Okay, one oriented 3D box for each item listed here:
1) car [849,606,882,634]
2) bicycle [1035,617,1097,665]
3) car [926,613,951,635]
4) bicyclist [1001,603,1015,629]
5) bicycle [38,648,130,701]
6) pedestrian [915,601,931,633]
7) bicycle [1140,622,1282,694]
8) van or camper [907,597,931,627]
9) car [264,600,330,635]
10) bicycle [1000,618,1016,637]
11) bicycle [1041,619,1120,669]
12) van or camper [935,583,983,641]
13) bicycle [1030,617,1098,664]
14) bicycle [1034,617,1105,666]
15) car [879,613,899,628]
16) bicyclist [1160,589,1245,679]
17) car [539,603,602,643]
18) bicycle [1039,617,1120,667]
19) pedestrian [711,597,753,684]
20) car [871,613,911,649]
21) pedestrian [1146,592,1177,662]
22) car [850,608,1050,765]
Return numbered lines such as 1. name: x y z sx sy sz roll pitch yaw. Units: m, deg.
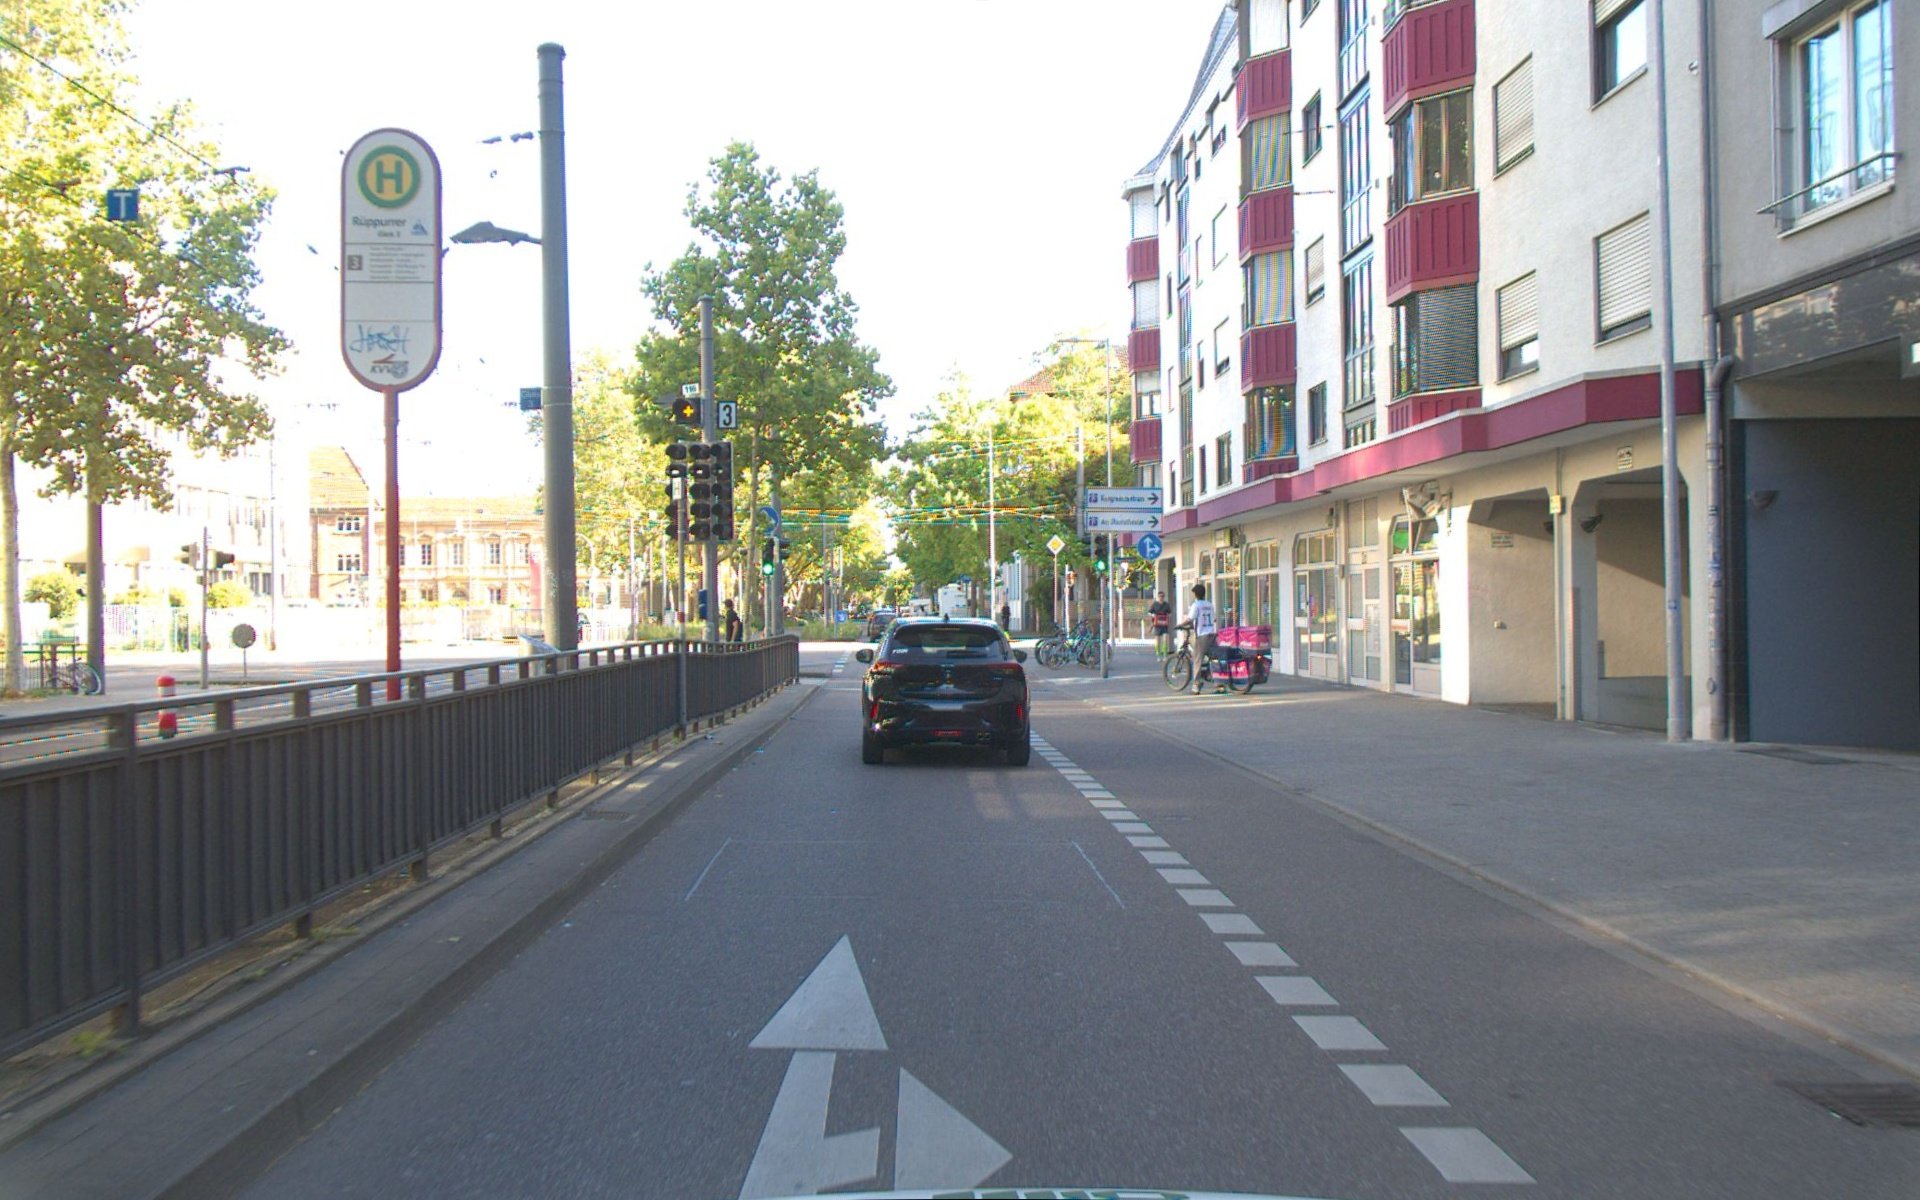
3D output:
1. car: -5.801 1.245 102.164 1.954 1.656 4.467 1 -1 -3
2. bicycle: 2.766 1.064 43.367 1.589 1.220 0.496 -1 -1 2
3. car: -1.634 1.779 125.083 1.754 1.536 3.872 -2 0 -2
4. bicyclist: 2.846 0.955 97.995 0.733 1.536 0.702 -1 -1 12
5. bicycle: -17.110 1.440 32.339 0.796 0.962 1.726 -1 0 4
6. pedestrian: -2.372 1.104 106.246 1.015 2.059 1.211 0 -1 -3
7. bicycle: 4.472 1.019 29.663 0.954 1.204 2.561 -1 -1 -39
8. van or camper: -4.276 1.252 171.708 2.436 3.046 5.432 1 -1 -1
9. car: -40.918 1.065 102.137 1.952 2.049 4.726 -1 0 2
10. bicycle: 2.847 1.627 97.948 0.626 1.089 1.952 -1 -1 12
11. bicycle: 3.003 1.087 41.300 1.902 1.191 0.571 -1 -1 -5
12. van or camper: -0.113 0.691 98.386 2.329 3.179 7.545 -4 0 -3
13. bicycle: 2.772 1.078 44.115 1.764 1.220 0.546 -1 -2 2
14. bicycle: 2.831 1.065 42.798 1.793 1.242 0.496 -1 -1 1
15. car: -7.191 2.069 168.261 1.866 1.450 4.214 -1 0 -1
16. bicyclist: 4.369 0.606 29.788 1.050 1.567 1.064 -1 -1 -39
17. car: -20.439 1.190 86.964 1.951 1.982 4.426 -1 0 4
18. bicycle: 3.023 1.066 41.925 1.939 1.220 0.590 -1 -1 -7
19. pedestrian: -4.718 0.839 34.250 0.719 1.777 0.712 -1 0 3
20. car: -3.299 1.475 79.781 1.795 1.651 4.283 0 0 -1
21. pedestrian: 5.514 0.748 45.329 0.708 1.890 0.800 -1 -1 -3
22. car: -0.134 0.823 17.731 1.866 1.450 4.214 -1 0 -1
